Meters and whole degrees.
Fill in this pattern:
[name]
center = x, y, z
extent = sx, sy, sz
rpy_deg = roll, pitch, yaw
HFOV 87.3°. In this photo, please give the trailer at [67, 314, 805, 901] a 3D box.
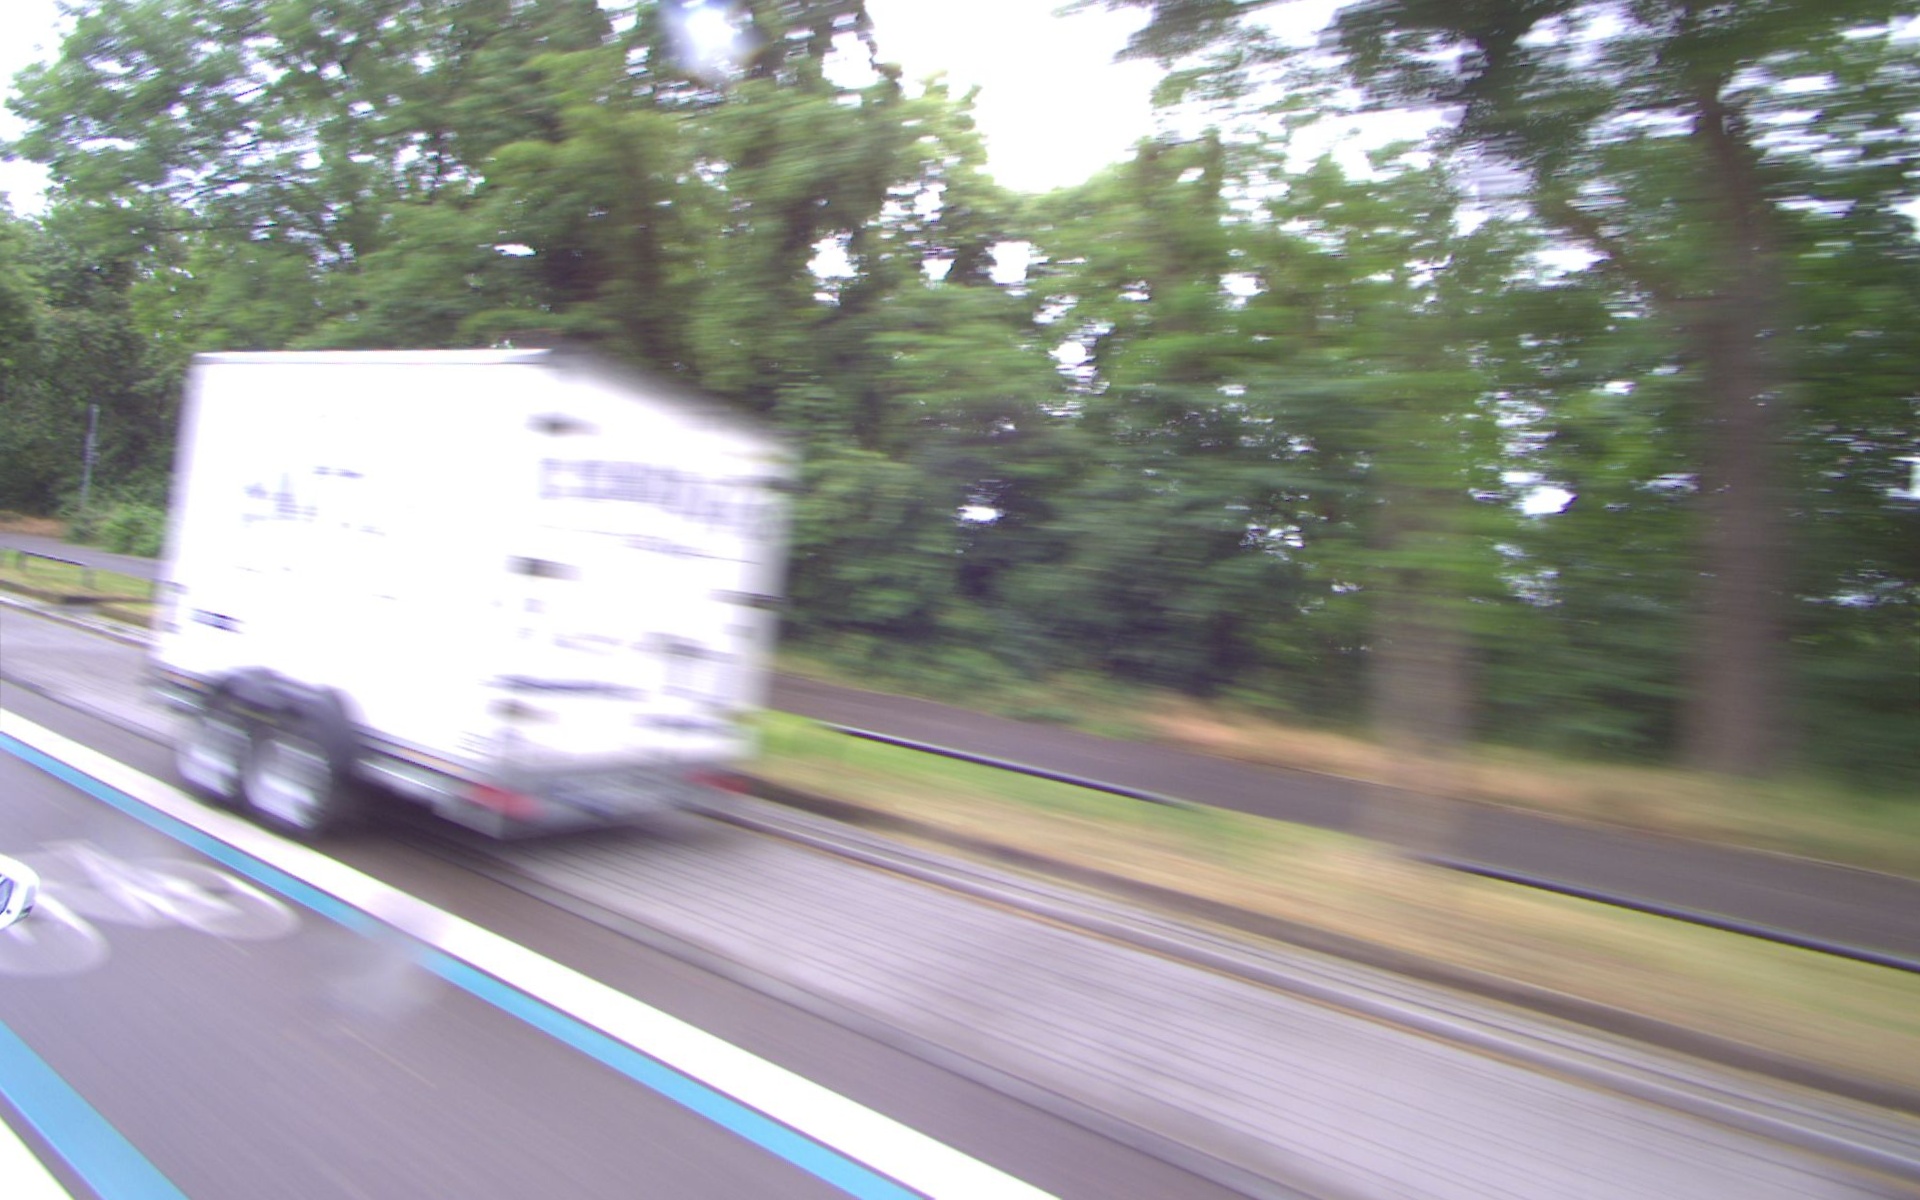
[trailer]
center = -3.284, -0.086, 6.246
extent = 3.931, 2.595, 1.987
rpy_deg = 7, -1, 29
